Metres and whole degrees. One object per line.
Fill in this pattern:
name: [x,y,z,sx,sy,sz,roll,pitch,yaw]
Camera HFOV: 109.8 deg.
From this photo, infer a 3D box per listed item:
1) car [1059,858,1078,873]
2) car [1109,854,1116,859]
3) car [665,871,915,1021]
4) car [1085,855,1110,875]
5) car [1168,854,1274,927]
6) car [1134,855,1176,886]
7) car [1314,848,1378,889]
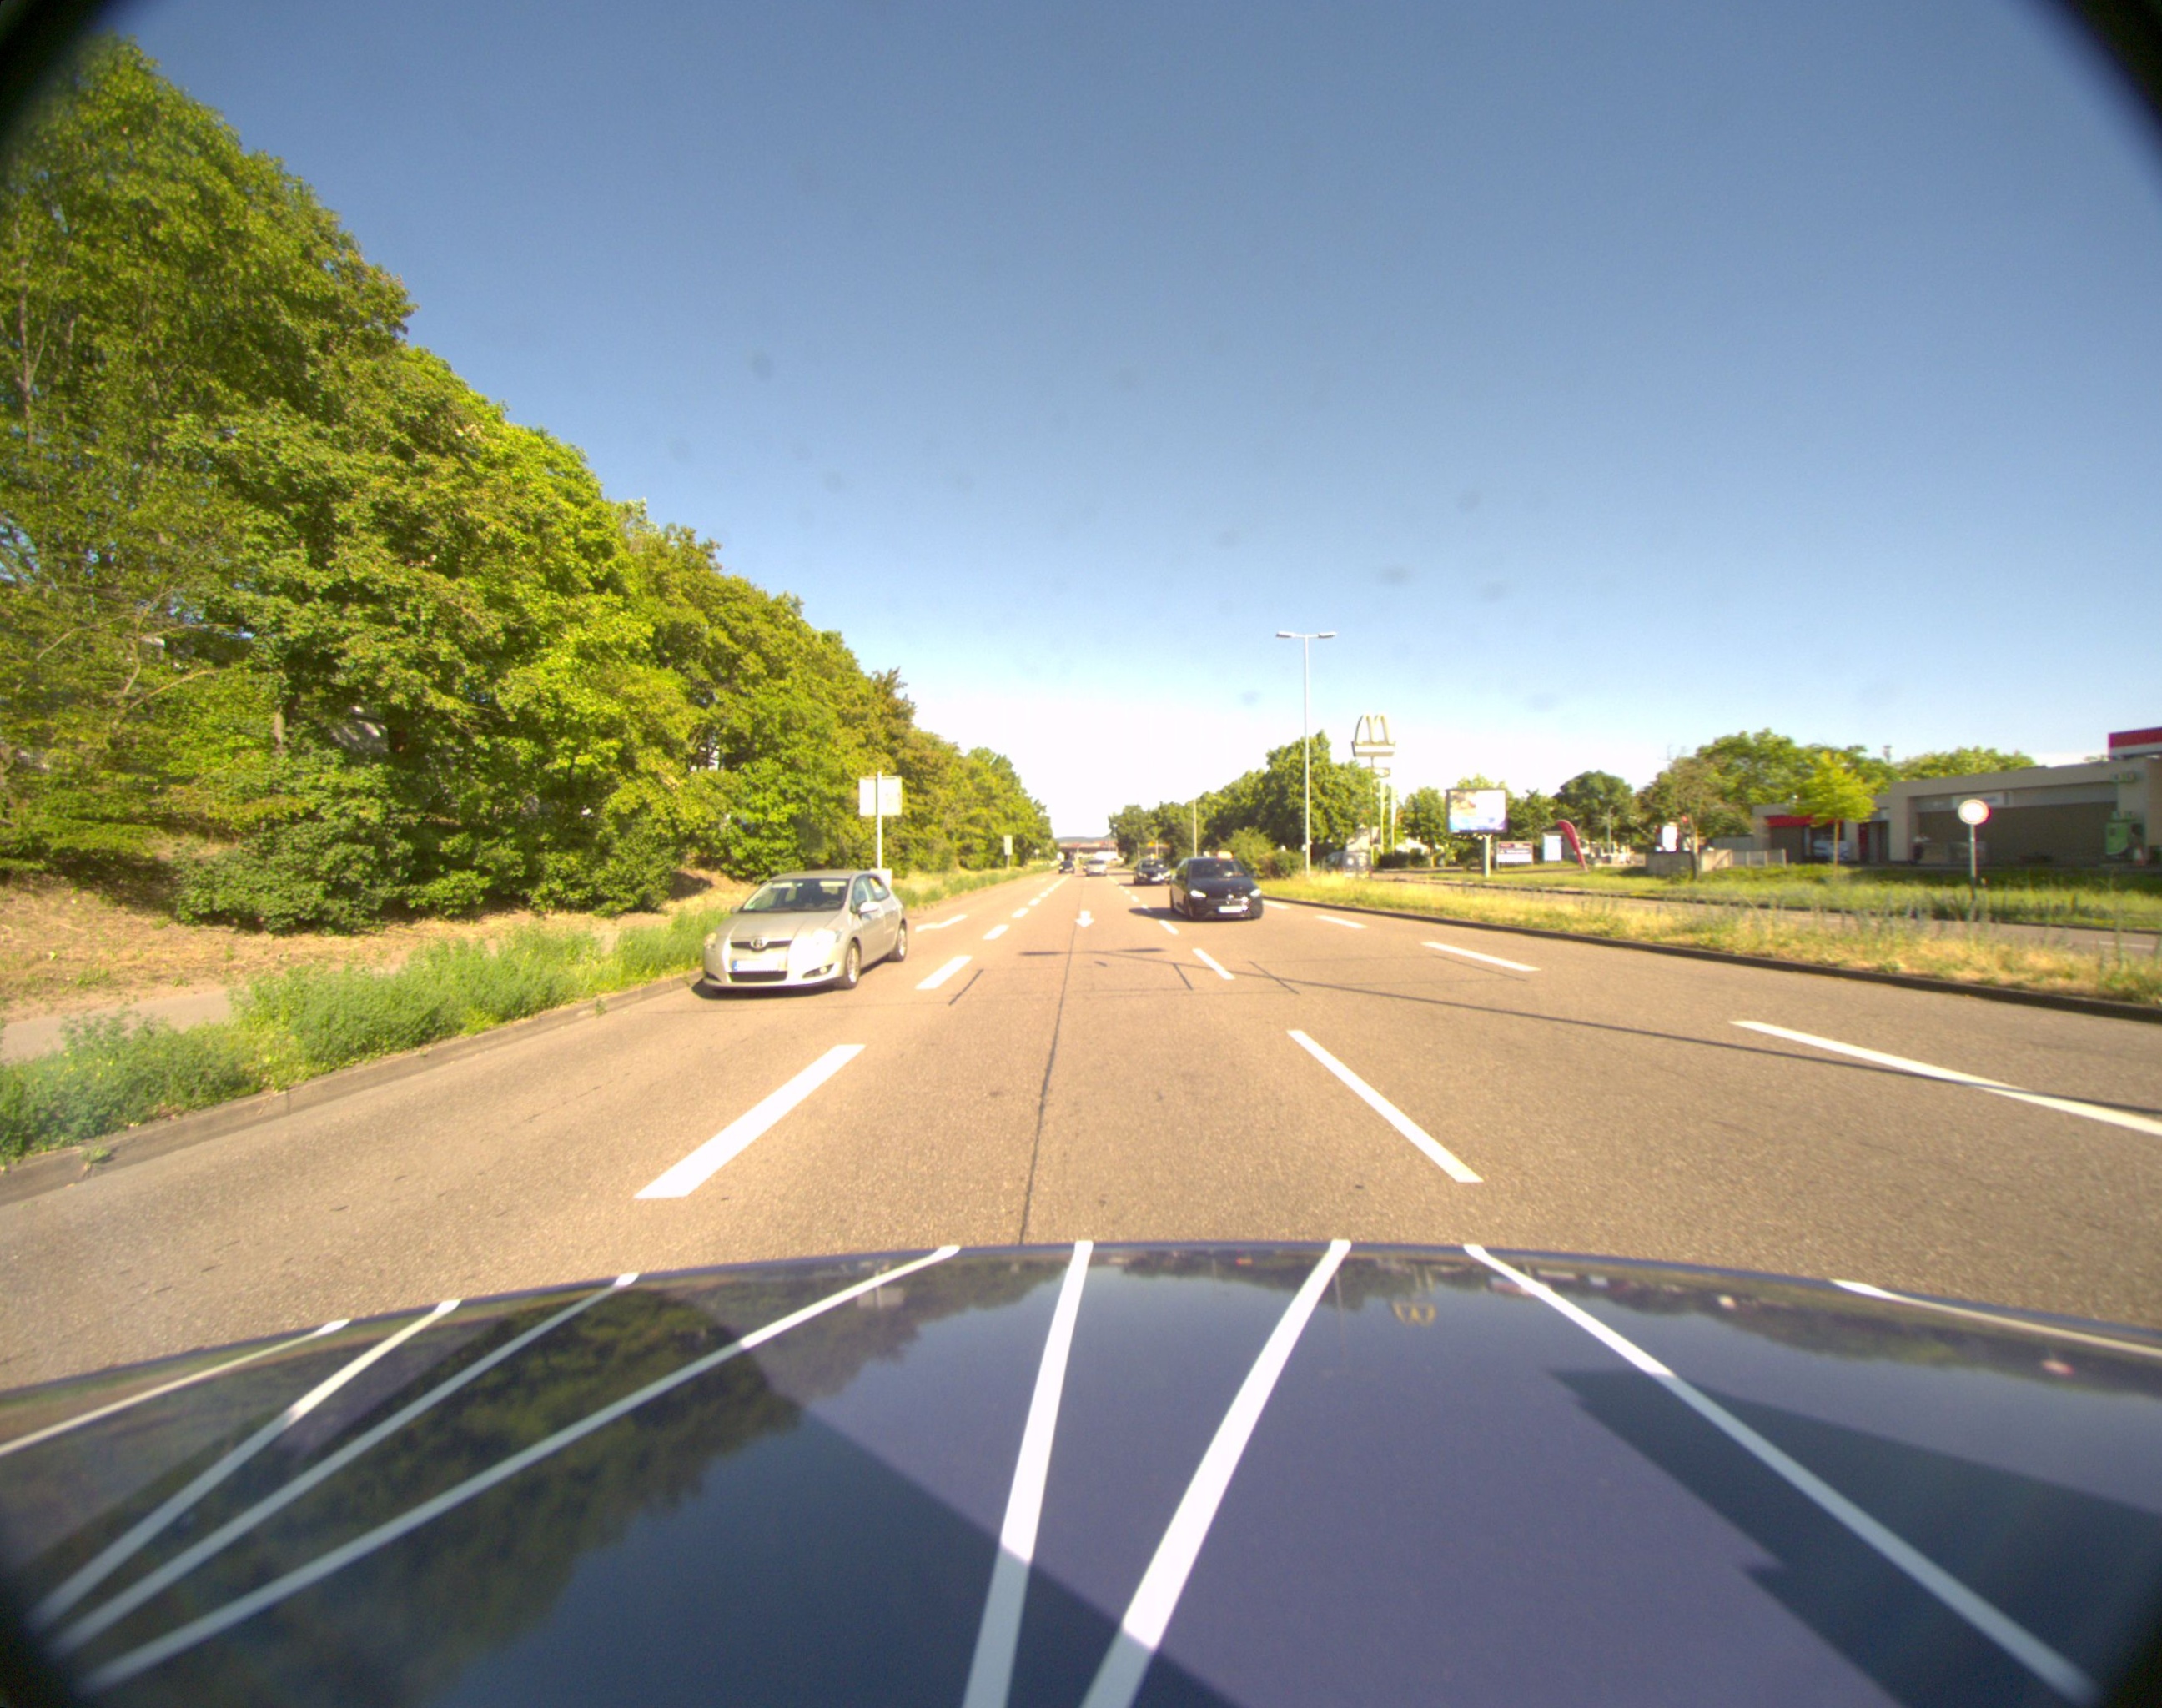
car: [-1.432,1.331,88.219,2.036,1.601,4.098,-2,0,1]
car: [8.671,0.698,209.904,1.998,1.433,4.000,-1,0,1]
car: [-3.691,1.078,10.533,1.788,1.528,4.108,-2,0,1]
car: [1.456,0.974,67.634,2.025,1.601,4.098,-2,0,1]
car: [3.375,0.814,19.200,1.788,1.592,4.583,-2,0,0]
car: [4.076,0.873,42.605,1.953,1.501,4.462,-2,1,1]
car: [13.124,0.652,37.883,1.682,1.837,4.294,-2,1,0]
